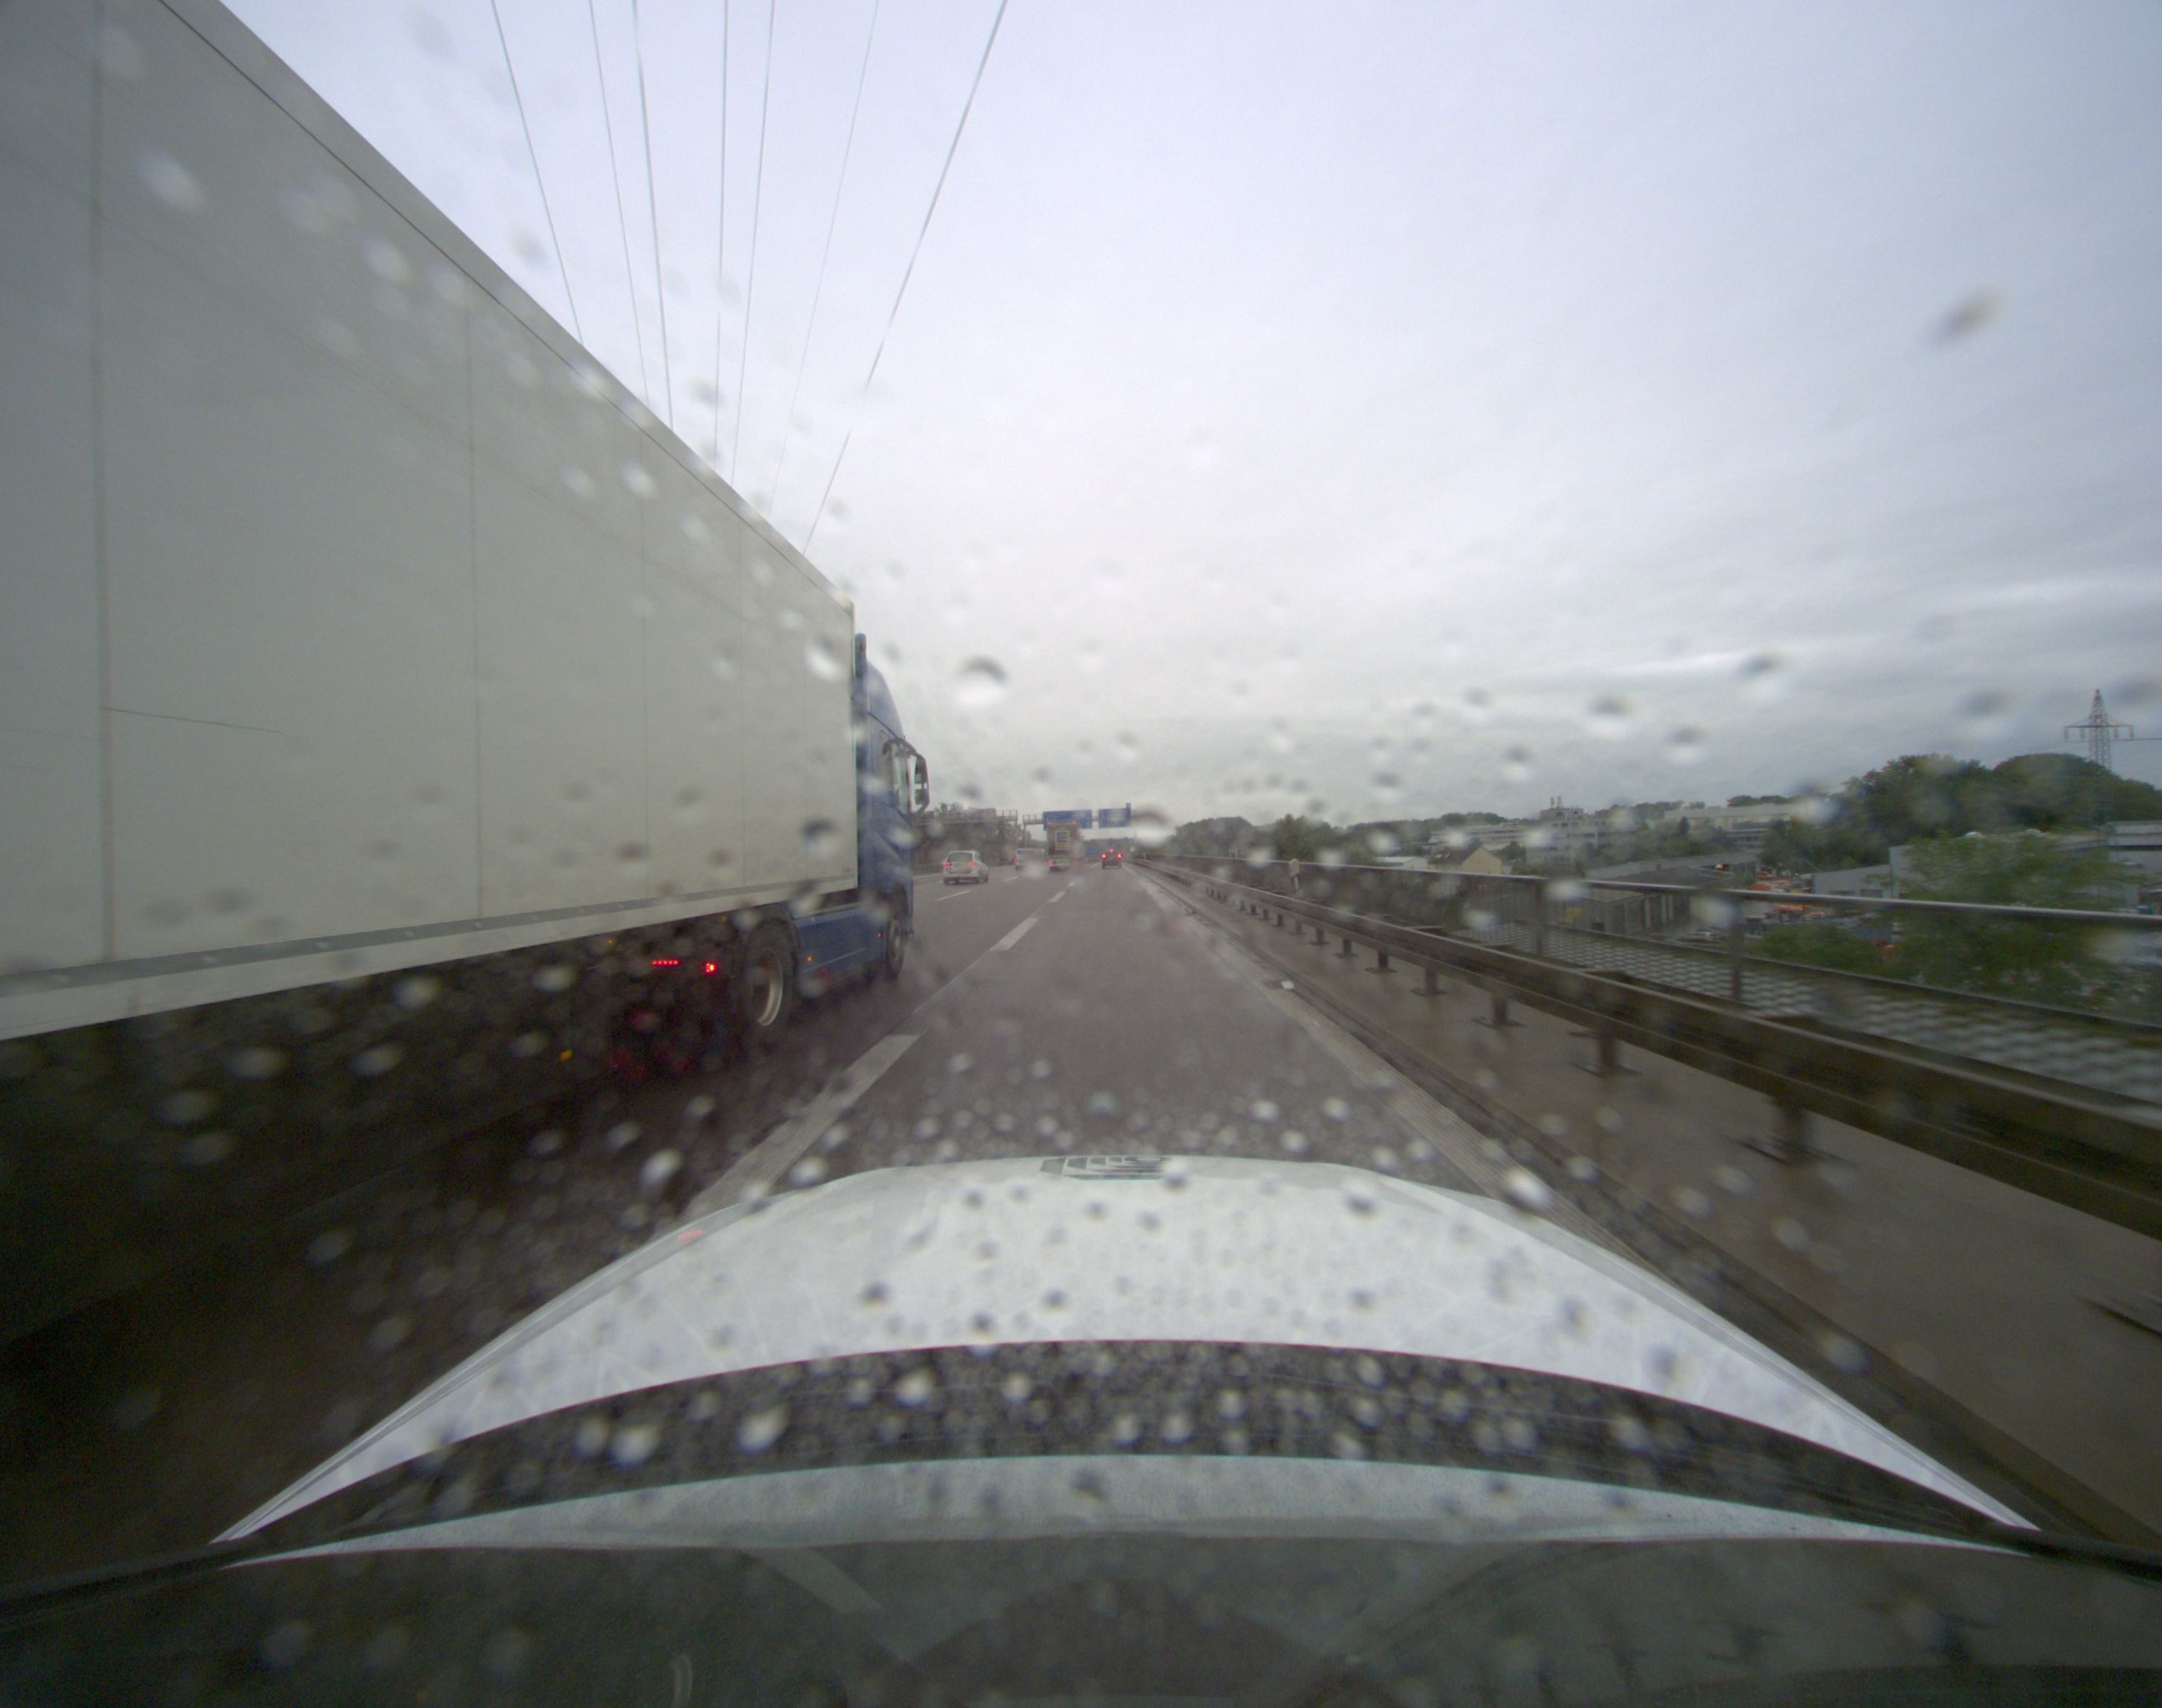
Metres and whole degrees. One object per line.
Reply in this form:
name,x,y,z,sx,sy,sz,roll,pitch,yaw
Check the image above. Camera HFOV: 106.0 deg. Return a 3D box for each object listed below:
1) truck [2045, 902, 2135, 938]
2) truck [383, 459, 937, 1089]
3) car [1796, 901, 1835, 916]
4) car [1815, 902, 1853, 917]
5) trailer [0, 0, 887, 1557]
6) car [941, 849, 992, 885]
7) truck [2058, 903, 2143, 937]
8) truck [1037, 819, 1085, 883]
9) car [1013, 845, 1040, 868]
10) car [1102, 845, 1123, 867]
truck,121.152,7.837,97.903,2.112,3.810,6.522,0,-1,-32
truck,-3.363,-0.548,8.578,2.334,4.157,6.349,0,0,2
car,110.529,8.153,122.616,2.008,2.014,3.958,0,-1,-34
car,117.063,8.619,126.595,2.008,2.014,3.958,0,-1,-34
trailer,-3.582,-0.512,1.638,2.334,4.157,14.833,0,0,2
car,-5.800,0.652,41.591,1.887,1.723,4.001,0,-1,2
truck,130.050,8.340,103.944,2.112,3.810,6.522,0,-1,-32
truck,-1.584,-0.222,70.822,3.520,5.183,9.896,0,-1,2
car,-4.823,0.238,72.913,2.041,1.949,4.001,0,-1,2
car,2.933,0.209,76.163,1.889,1.949,4.003,0,-1,3
